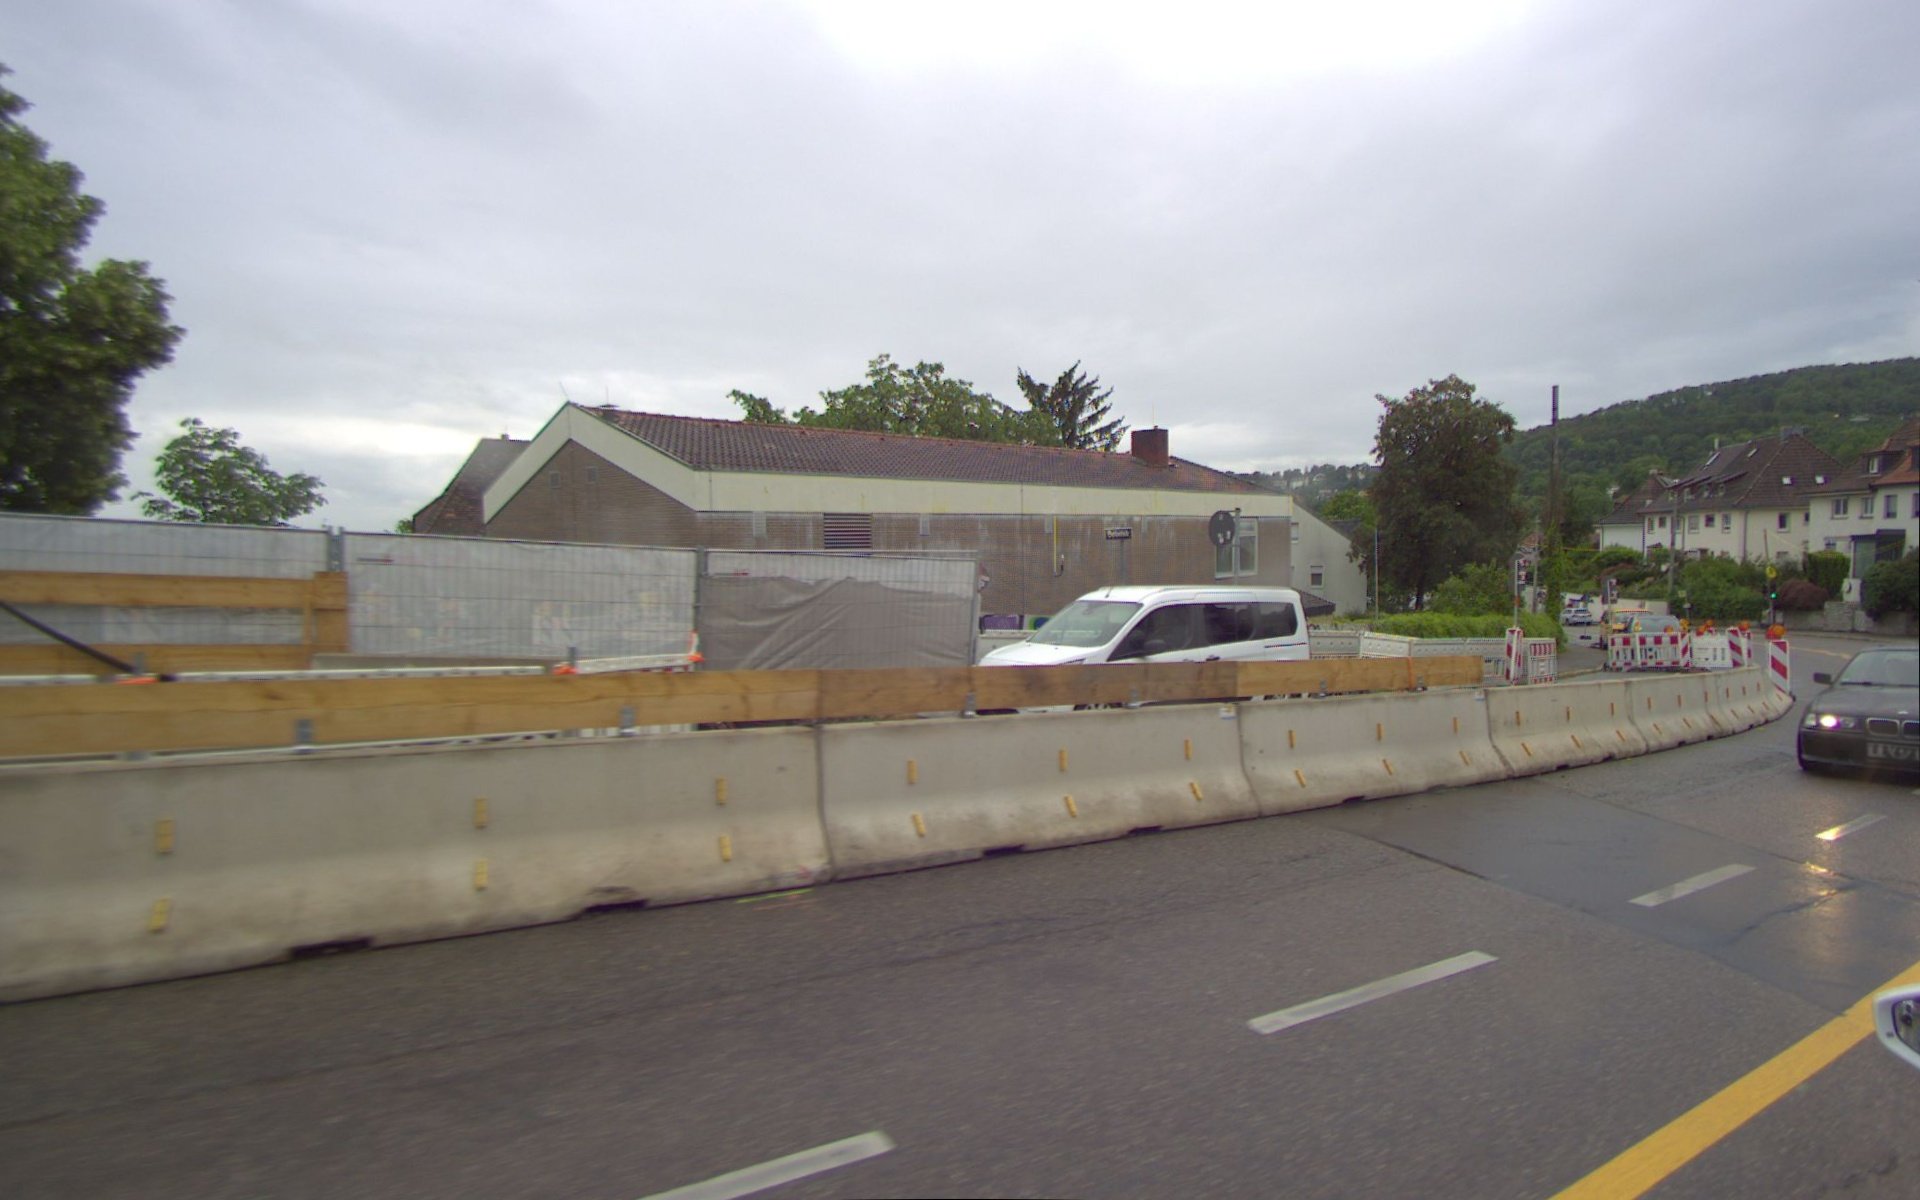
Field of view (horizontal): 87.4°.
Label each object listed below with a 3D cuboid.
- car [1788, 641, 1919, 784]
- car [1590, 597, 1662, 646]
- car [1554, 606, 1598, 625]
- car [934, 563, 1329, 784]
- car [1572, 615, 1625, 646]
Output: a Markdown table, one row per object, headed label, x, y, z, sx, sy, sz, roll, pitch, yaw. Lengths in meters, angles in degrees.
| label | x | y | z | sx | sy | sz | roll | pitch | yaw |
| --- | --- | --- | --- | --- | --- | --- | --- | --- | --- |
| car | 10.421 | 1.118 | 10.761 | 4.228 | 1.328 | 1.634 | 3 | -3 | -40 |
| car | 29.655 | 0.940 | 44.866 | 1.962 | 2.040 | 5.137 | 1 | 0 | 26 |
| car | 52.187 | 1.285 | 85.217 | 1.959 | 1.595 | 4.002 | 1 | 0 | 12 |
| car | 2.248 | 0.696 | 12.565 | 4.753 | 2.041 | 1.982 | -5 | 5 | -33 |
| car | 33.114 | 1.568 | 52.169 | 1.817 | 1.483 | 3.764 | 1 | 0 | 25 |
